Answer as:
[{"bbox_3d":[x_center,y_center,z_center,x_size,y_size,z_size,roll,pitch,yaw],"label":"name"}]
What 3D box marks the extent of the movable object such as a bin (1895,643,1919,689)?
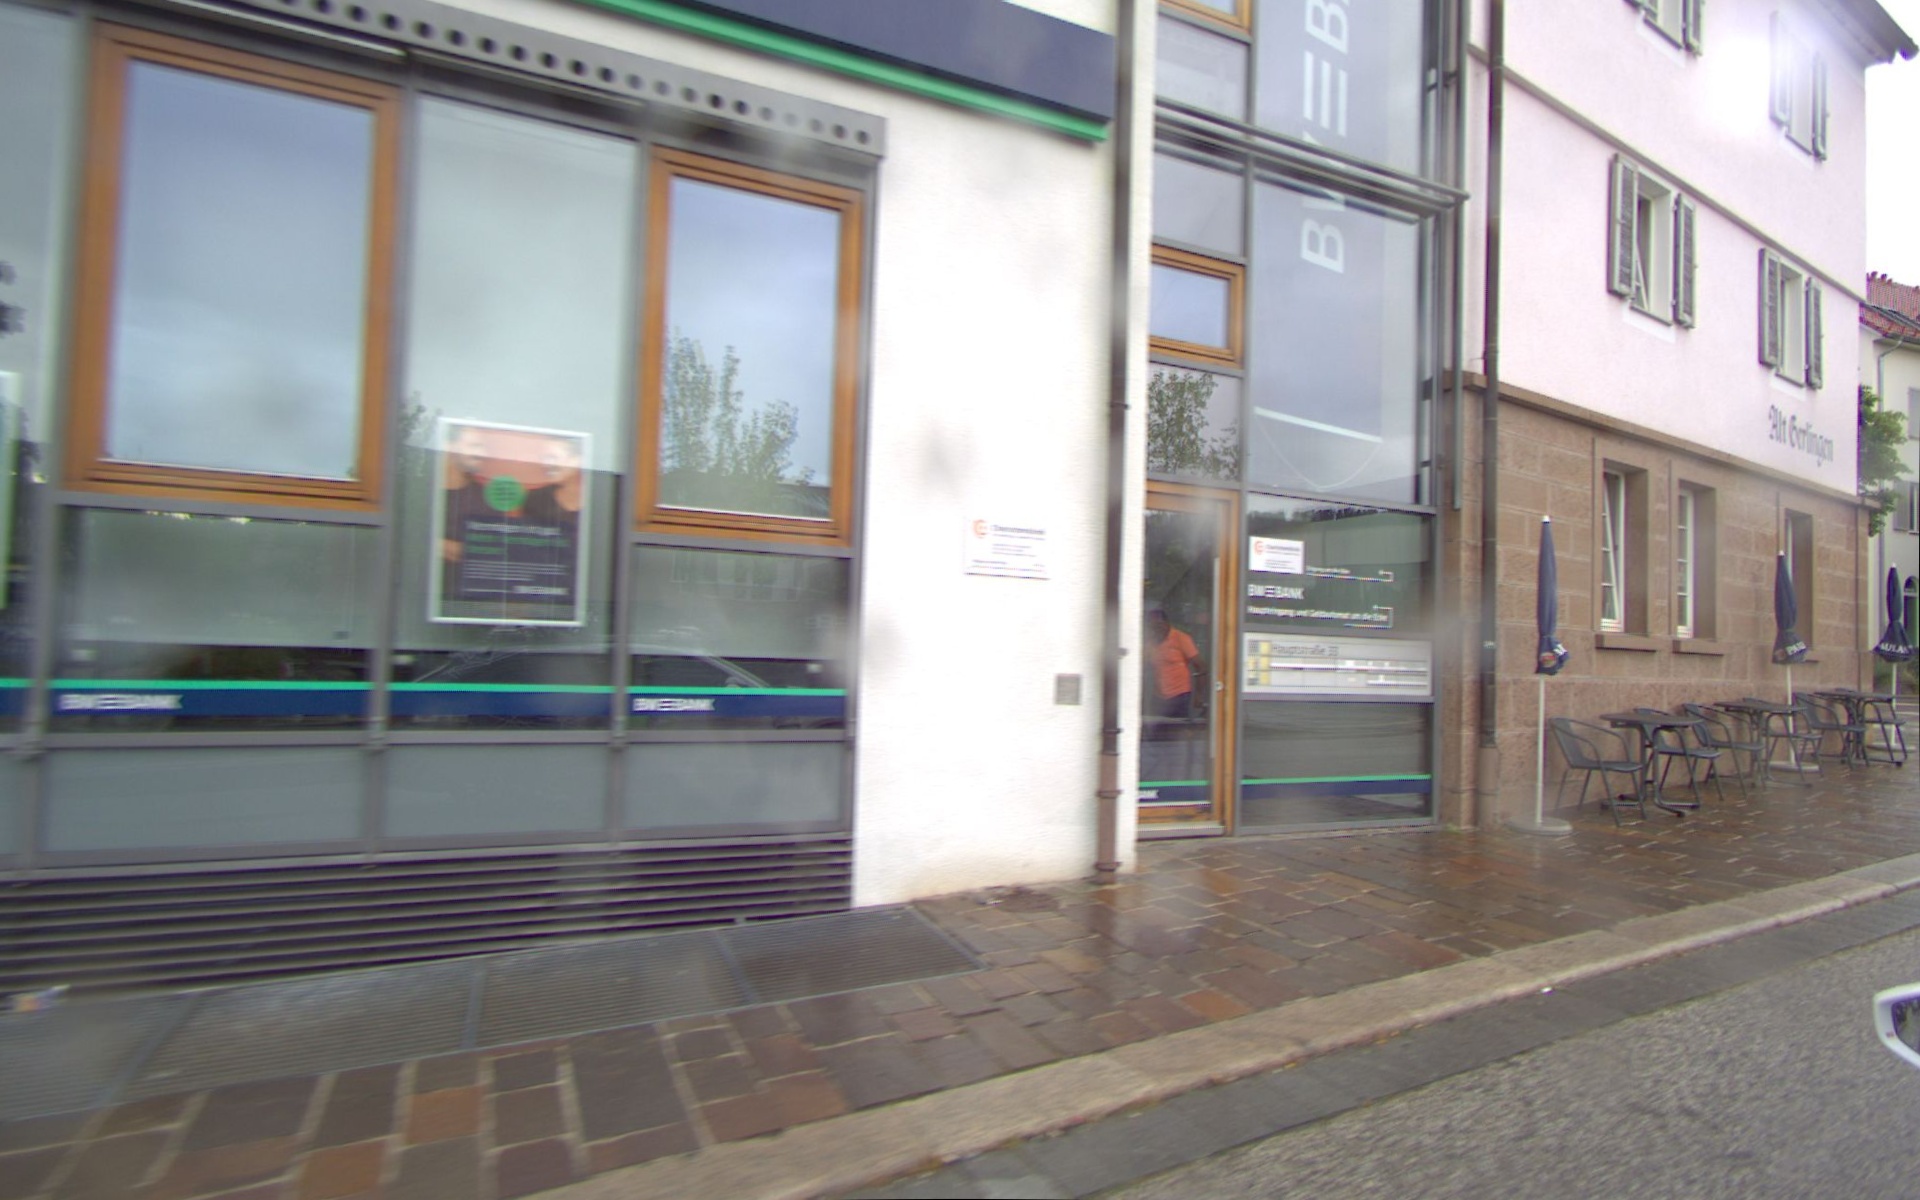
[{"bbox_3d":[24.089,1.641,25.159,0.639,1.139,0.738,1,-3,-14],"label":"movable object such as a bin"}]
